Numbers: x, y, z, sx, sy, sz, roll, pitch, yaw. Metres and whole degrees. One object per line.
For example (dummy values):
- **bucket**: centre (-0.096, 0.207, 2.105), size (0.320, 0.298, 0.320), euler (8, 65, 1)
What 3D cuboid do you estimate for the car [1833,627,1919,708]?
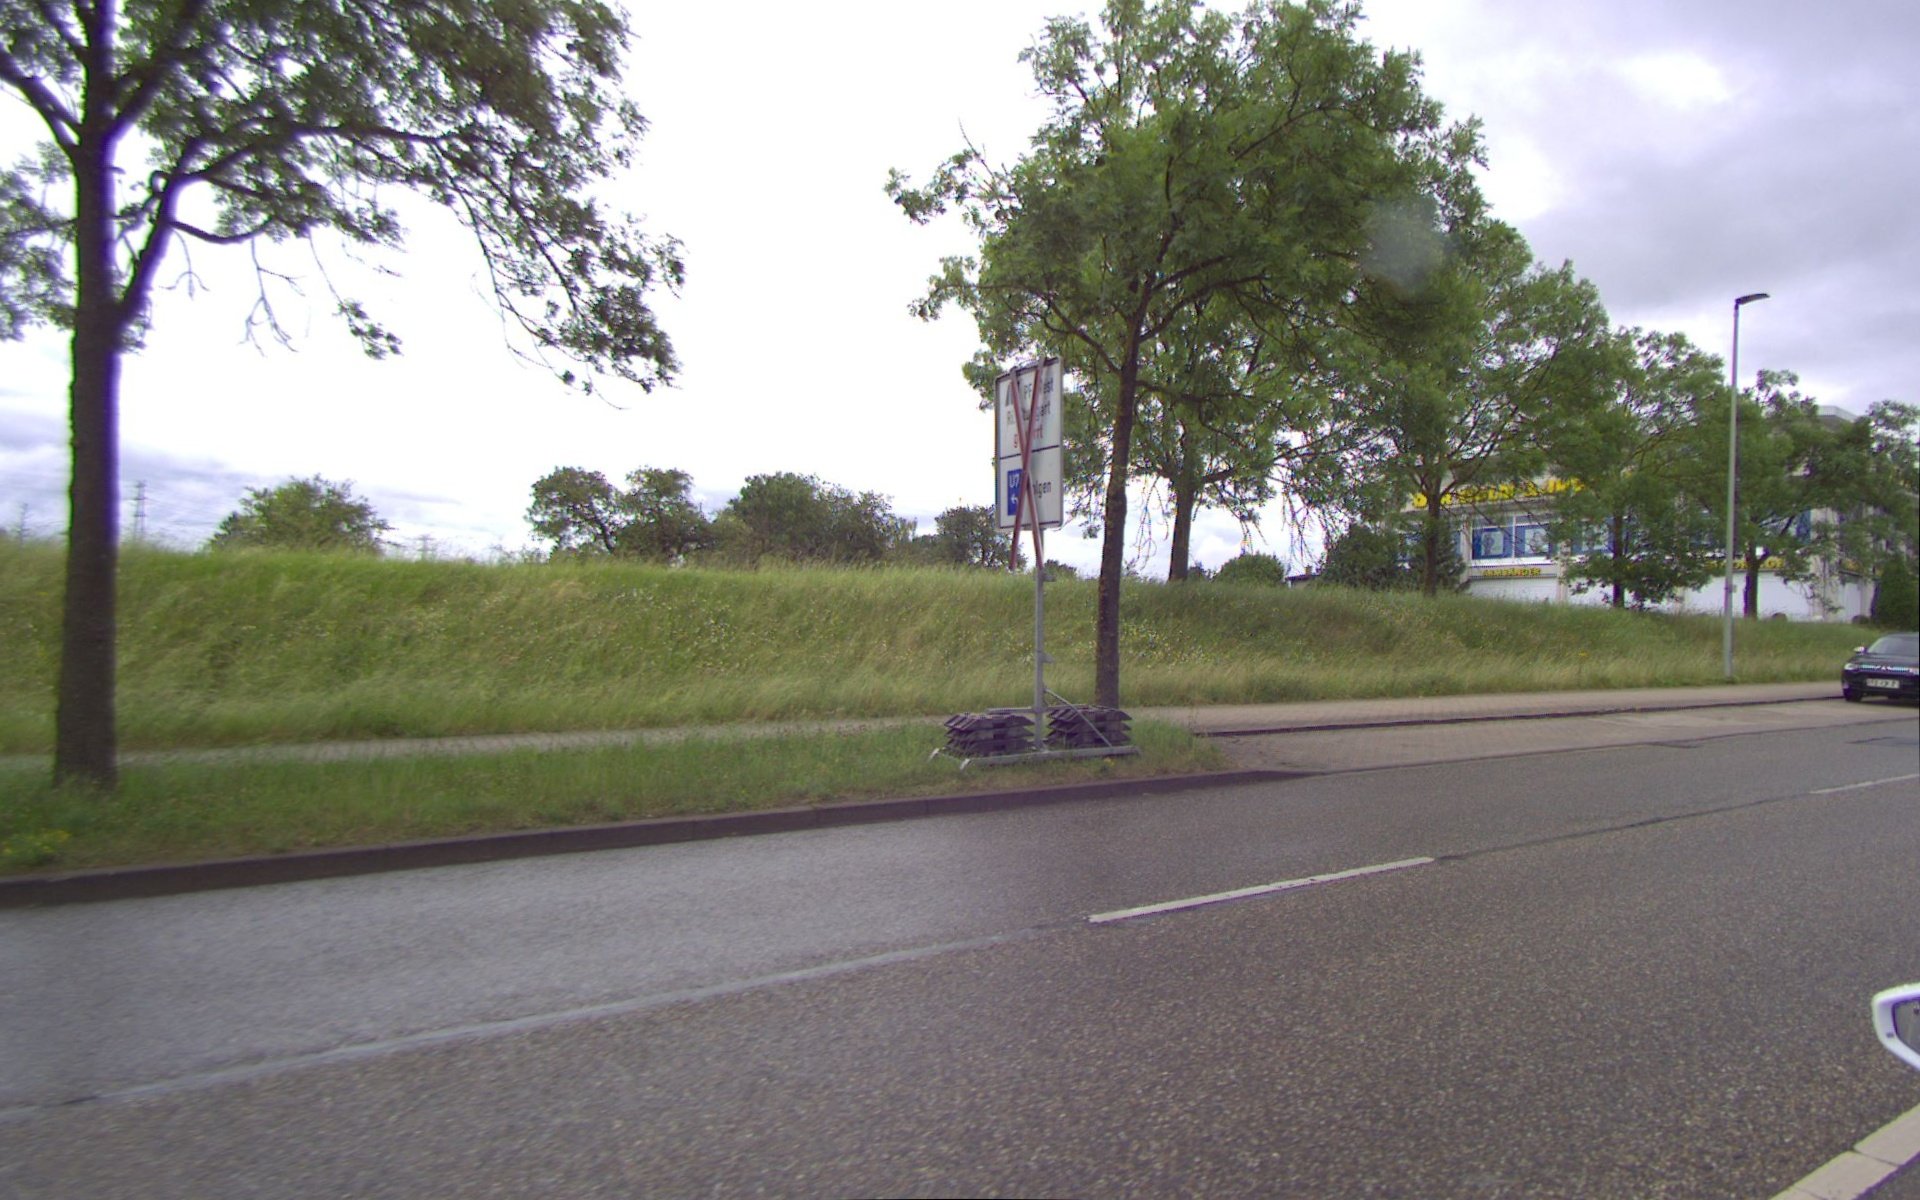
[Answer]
- **car**: centre (22.549, 1.552, 23.601), size (4.435, 1.690, 1.717), euler (2, 1, -31)
